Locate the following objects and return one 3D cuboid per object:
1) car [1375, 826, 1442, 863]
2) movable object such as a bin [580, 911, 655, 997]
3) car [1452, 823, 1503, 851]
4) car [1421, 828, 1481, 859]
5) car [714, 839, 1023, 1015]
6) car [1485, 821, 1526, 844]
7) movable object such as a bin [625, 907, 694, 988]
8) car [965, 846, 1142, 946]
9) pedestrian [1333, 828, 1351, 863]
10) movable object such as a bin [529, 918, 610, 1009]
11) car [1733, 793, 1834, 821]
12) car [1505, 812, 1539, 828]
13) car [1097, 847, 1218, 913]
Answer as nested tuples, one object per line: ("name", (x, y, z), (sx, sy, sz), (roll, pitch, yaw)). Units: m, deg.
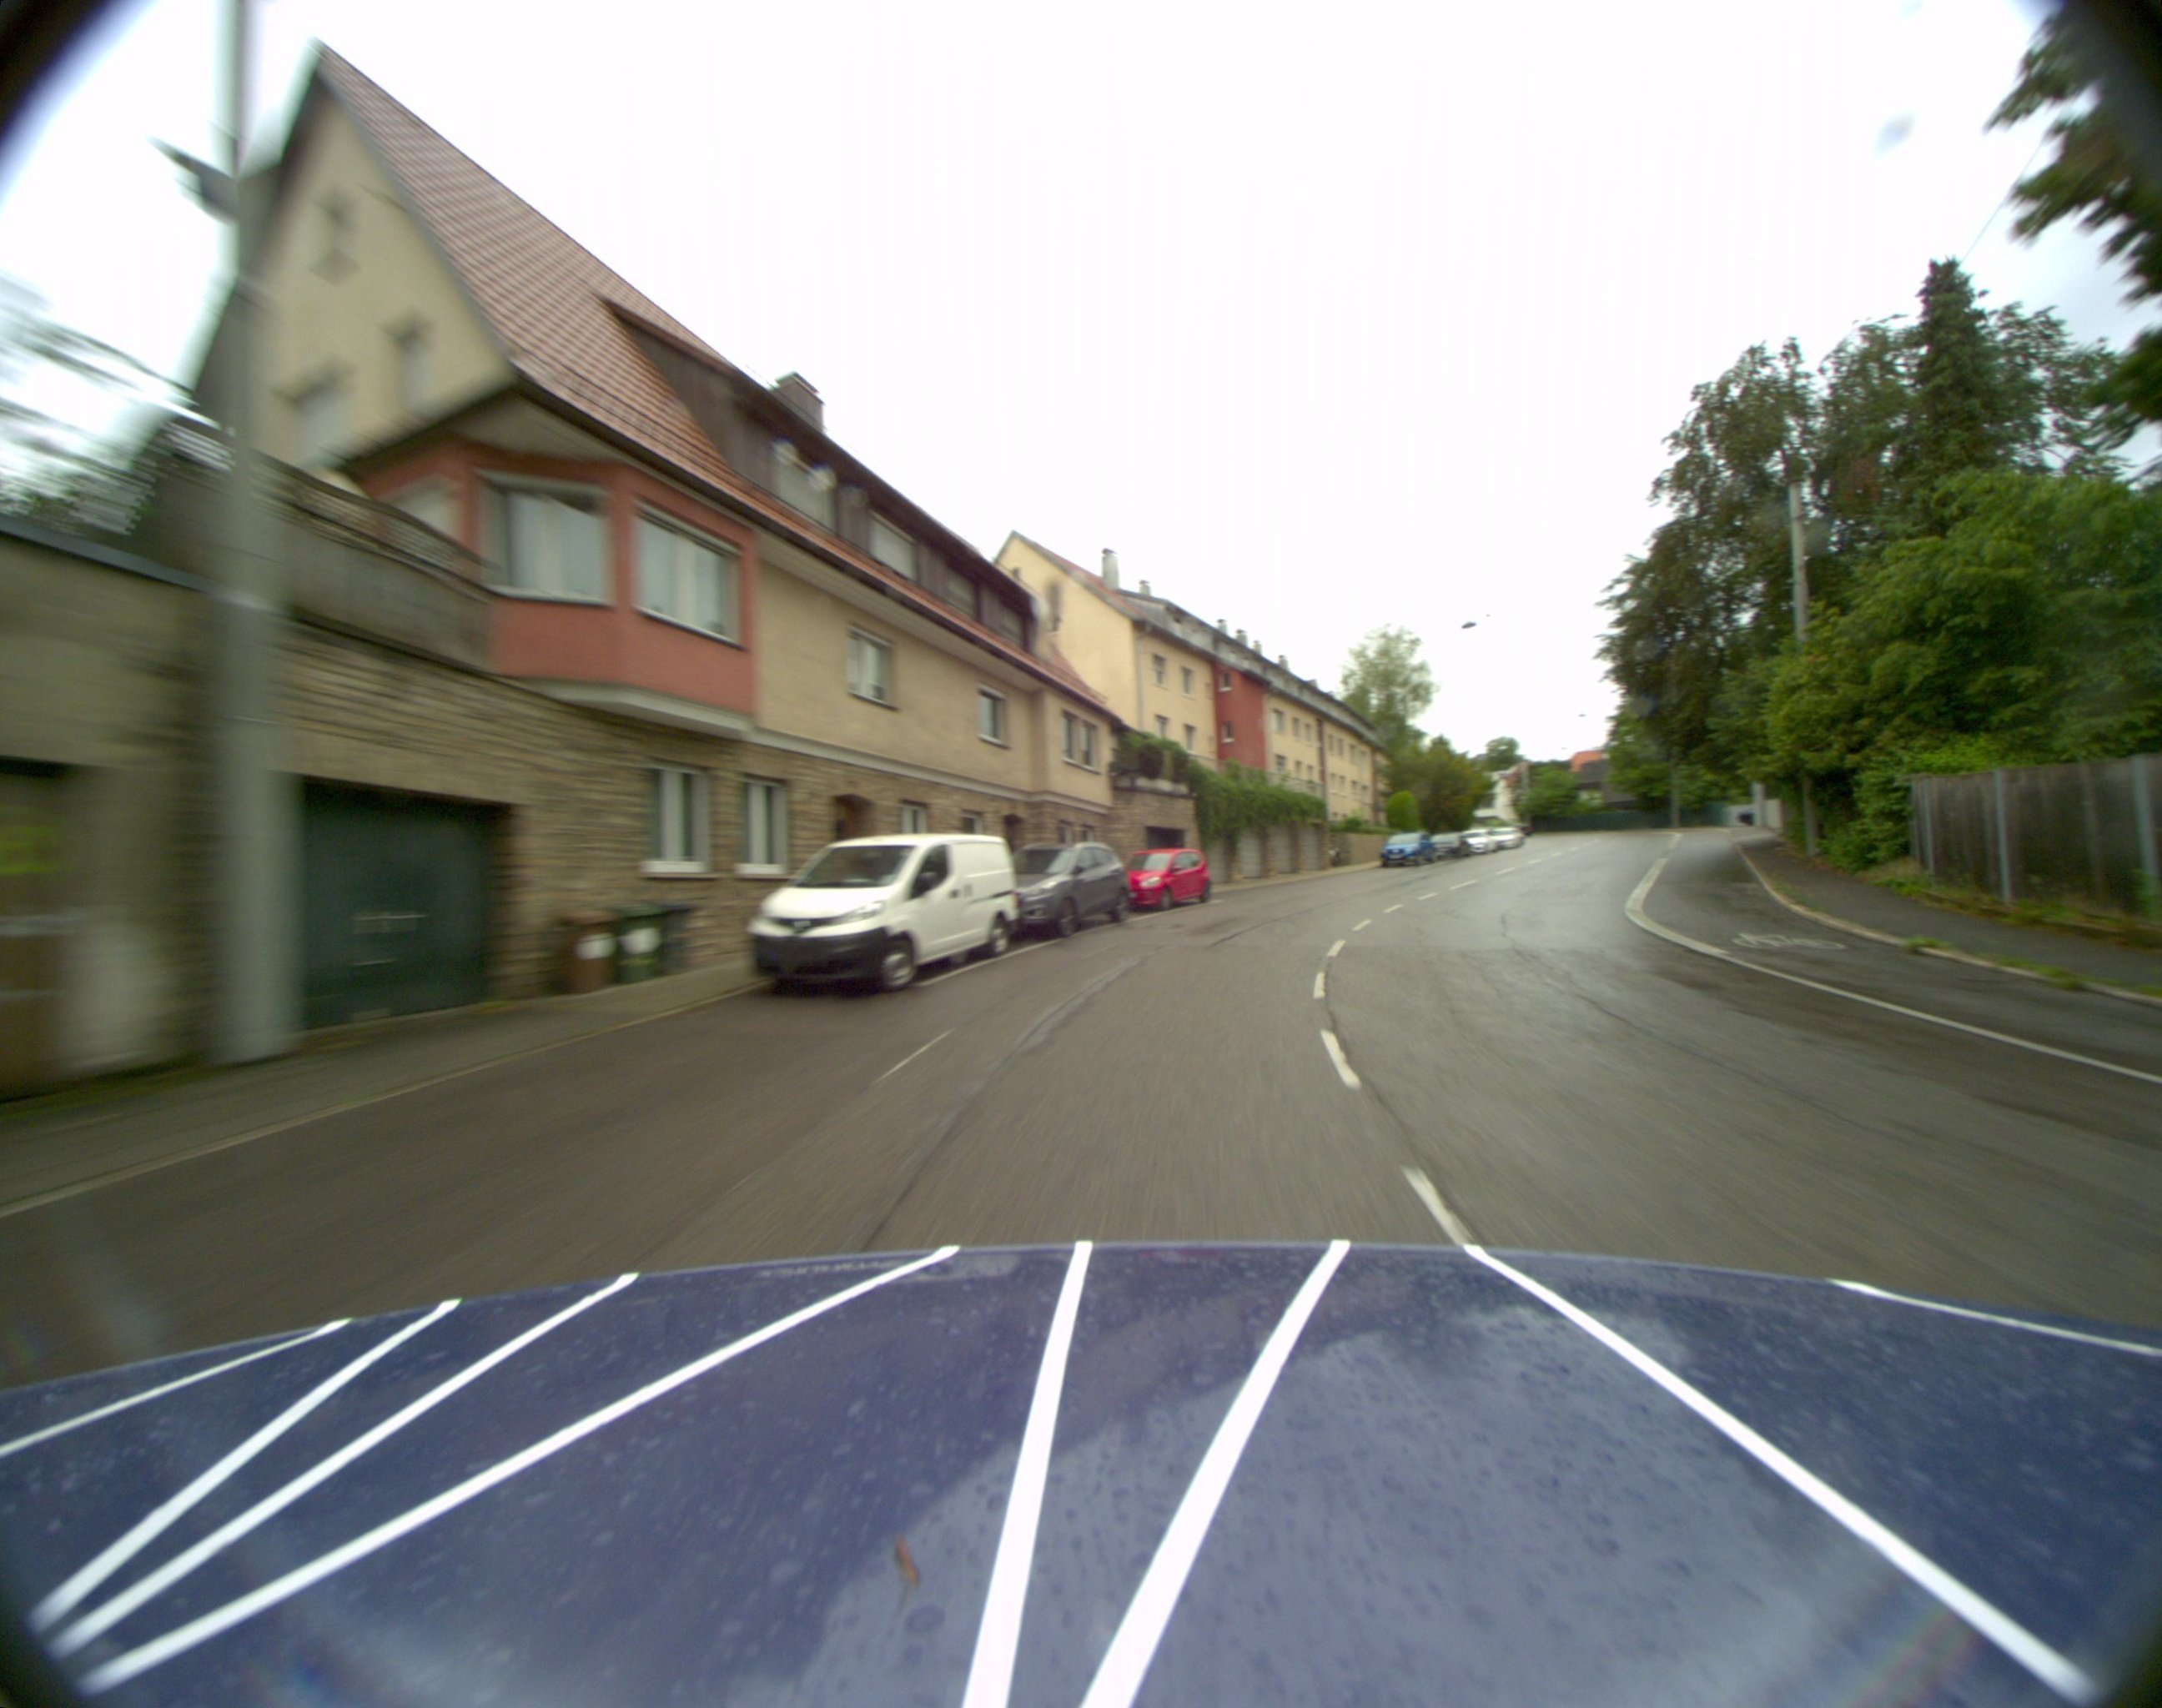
("car", (15.611, -0.478, 36.063), (1.735, 1.584, 4.262), (-3, 0, 39))
("movable object such as a bin", (-5.515, 1.173, 9.057), (0.580, 0.917, 0.513), (1, 2, 24))
("car", (23.740, -1.043, 45.462), (1.808, 1.447, 4.262), (-4, 0, 39))
("car", (19.874, -0.601, 40.706), (1.690, 1.447, 4.262), (-4, 0, 43))
("car", (-2.431, 0.757, 10.000), (1.707, 1.780, 4.331), (-3, 0, 18))
("car", (29.610, -1.521, 52.925), (1.781, 1.426, 4.577), (-6, -1, 38))
("movable object such as a bin", (-5.319, 1.164, 9.600), (0.580, 0.917, 0.513), (1, 2, 24))
("car", (-0.340, 0.689, 14.831), (1.616, 1.595, 4.418), (-1, 1, 24))
("pedestrian", (12.525, -0.396, 36.457), (0.620, 1.641, 0.615), (-5, 0, 9))
("movable object such as a bin", (-5.748, 1.212, 8.552), (0.580, 0.917, 0.513), (1, 2, 24))
("car", (42.169, -2.787, 45.714), (1.898, 1.293, 3.995), (-4, 0, -16))
("car", (45.334, -3.491, 78.185), (1.652, 1.412, 3.804), (-7, 0, 8))
("car", (2.063, 0.603, 19.528), (1.616, 1.427, 3.587), (-1, 2, 32))
